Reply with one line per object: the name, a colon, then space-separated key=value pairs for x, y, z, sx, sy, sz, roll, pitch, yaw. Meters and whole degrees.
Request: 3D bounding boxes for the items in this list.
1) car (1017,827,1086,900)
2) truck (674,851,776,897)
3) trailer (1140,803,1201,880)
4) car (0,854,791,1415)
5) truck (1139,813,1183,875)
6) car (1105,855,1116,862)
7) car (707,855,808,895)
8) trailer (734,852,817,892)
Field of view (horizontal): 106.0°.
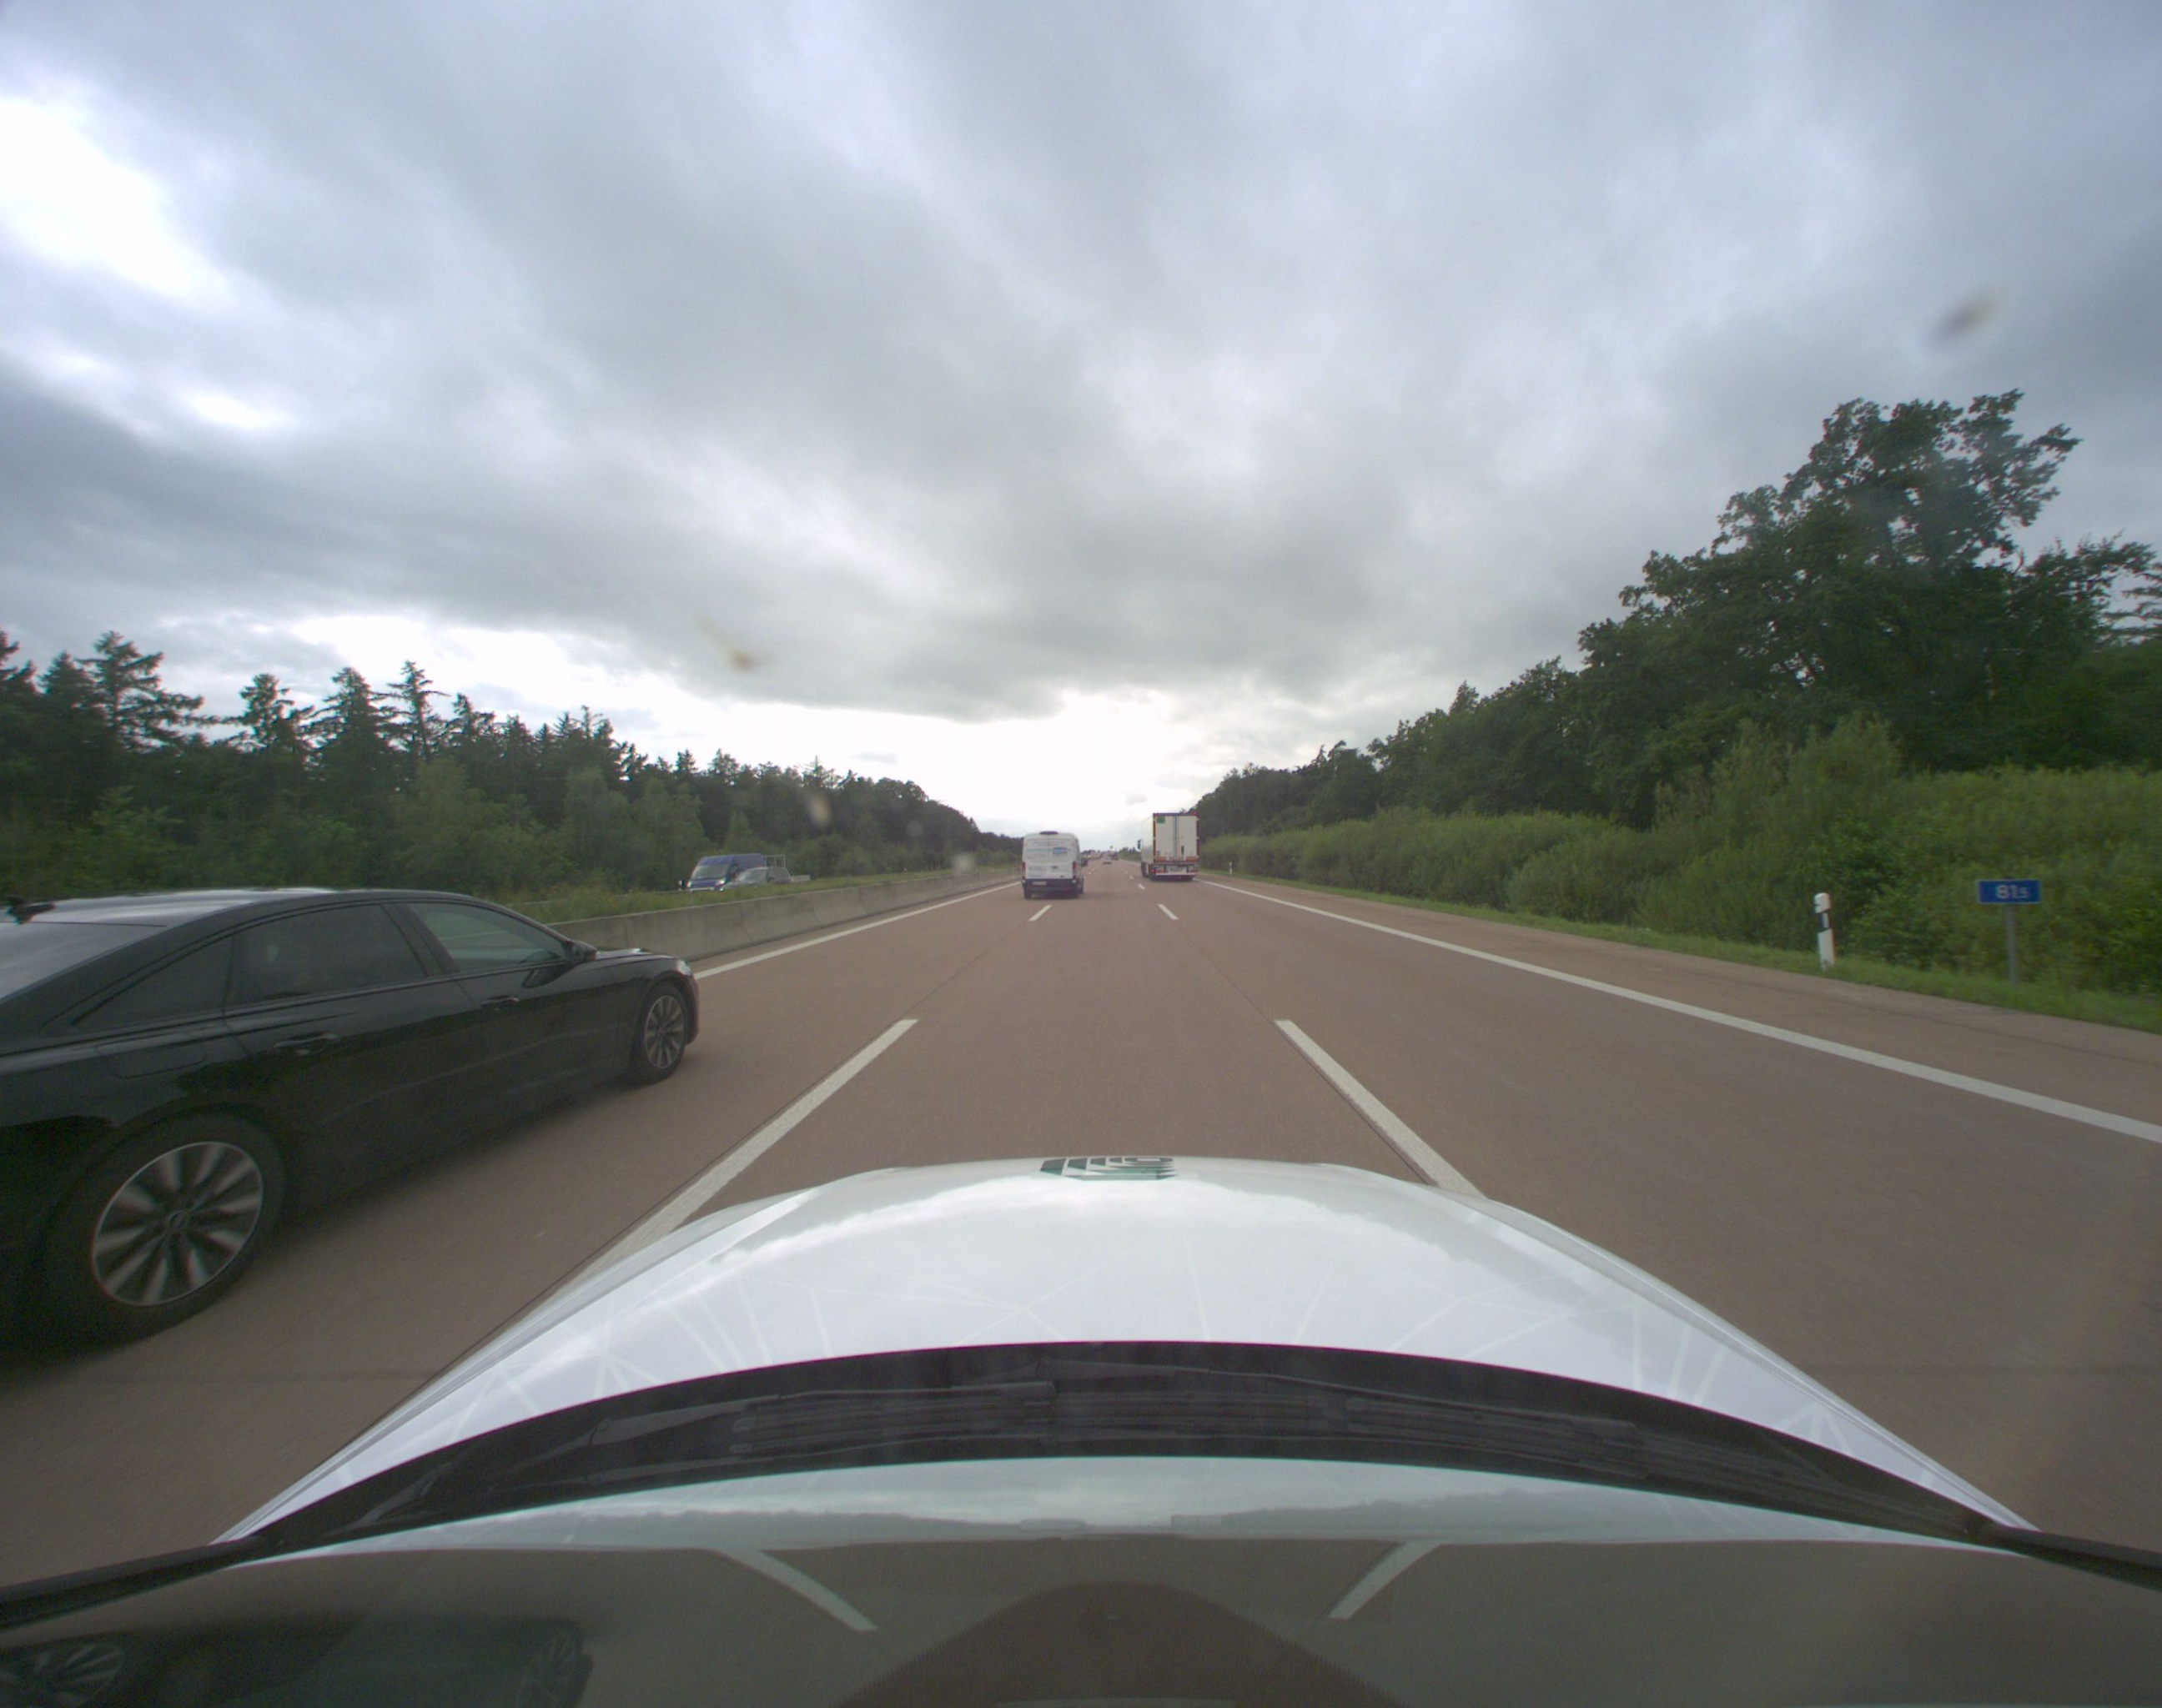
car: x=-1.004 y=0.327 z=32.184 sx=2.129 sy=2.507 sz=7.135 roll=-1 pitch=0 yaw=2
truck: x=-18.020 y=0.966 z=41.677 sx=2.338 sy=2.161 sz=6.046 roll=-1 pitch=0 yaw=2
trailer: x=5.552 y=-0.683 z=52.631 sx=2.910 sy=4.294 sz=13.620 roll=-1 pitch=0 yaw=2
car: x=-3.882 y=0.785 z=4.638 sx=2.076 sy=1.550 sz=5.680 roll=0 pitch=0 yaw=4
truck: x=5.839 y=-0.681 z=60.154 sx=2.910 sy=4.294 sz=5.337 roll=-1 pitch=0 yaw=2
car: x=6.189 y=0.979 z=169.809 sx=2.154 sy=1.451 sz=4.723 roll=0 pitch=0 yaw=4
car: x=-14.480 y=0.895 z=36.794 sx=2.338 sy=1.626 sz=5.130 roll=-1 pitch=0 yaw=2
trailer: x=-17.804 y=1.006 z=47.828 sx=2.323 sy=2.161 sz=6.192 roll=-1 pitch=0 yaw=2
